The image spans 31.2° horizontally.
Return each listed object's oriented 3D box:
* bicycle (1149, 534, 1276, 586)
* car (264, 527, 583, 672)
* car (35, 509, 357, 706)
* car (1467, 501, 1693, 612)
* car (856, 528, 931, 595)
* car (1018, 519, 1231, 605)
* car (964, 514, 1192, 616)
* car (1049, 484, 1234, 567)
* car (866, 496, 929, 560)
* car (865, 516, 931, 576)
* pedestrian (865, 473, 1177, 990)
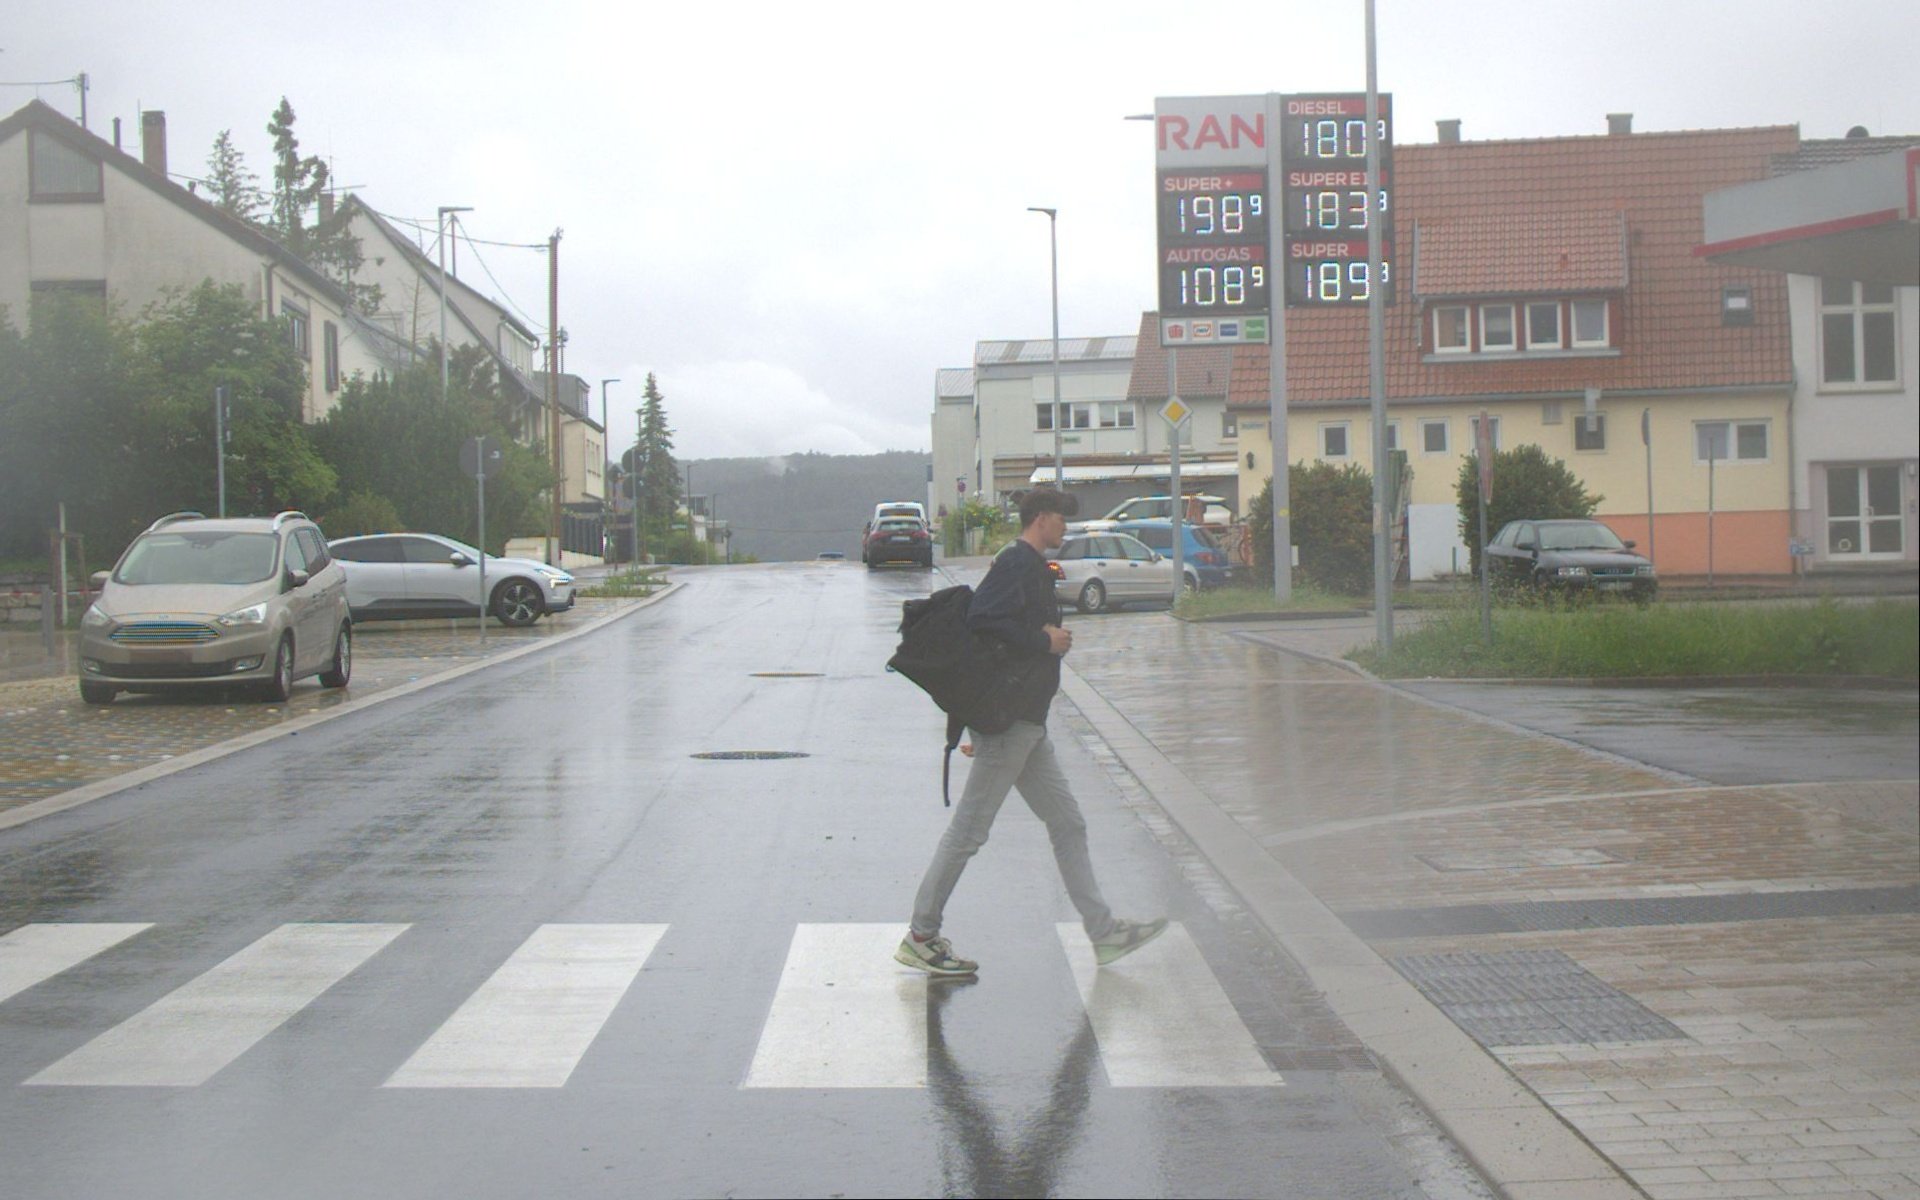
[{"bbox_3d":[5.428,-0.860,74.234,0.668,1.063,3.629,3,-1,-32],"label":"bicycle"},{"bbox_3d":[-8.380,0.009,53.727,4.752,2.007,2.000,3,-1,-9],"label":"car"},{"bbox_3d":[-6.832,0.022,31.187,1.993,1.623,4.153,-1,1,-1],"label":"car"},{"bbox_3d":[9.483,-0.637,52.916,1.993,1.547,4.001,3,-1,-12],"label":"car"},{"bbox_3d":[-1.859,-1.057,96.607,1.993,1.700,4.000,3,-1,-1],"label":"car"},{"bbox_3d":[3.272,-0.739,68.131,3.988,1.488,1.857,2,-1,9],"label":"car"},{"bbox_3d":[2.087,-0.592,59.958,1.952,1.550,3.991,2,-1,38],"label":"car"},{"bbox_3d":[4.245,-1.745,80.841,4.112,1.700,1.789,3,-1,-3],"label":"car"},{"bbox_3d":[-1.863,-2.137,103.366,1.783,1.700,4.000,3,-1,-1],"label":"car"},{"bbox_3d":[-1.957,-1.702,109.662,1.993,1.700,4.000,3,-1,-1],"label":"car"},{"bbox_3d":[0.194,0.431,11.871,1.013,1.718,0.772,0,1,-3],"label":"pedestrian"}]
